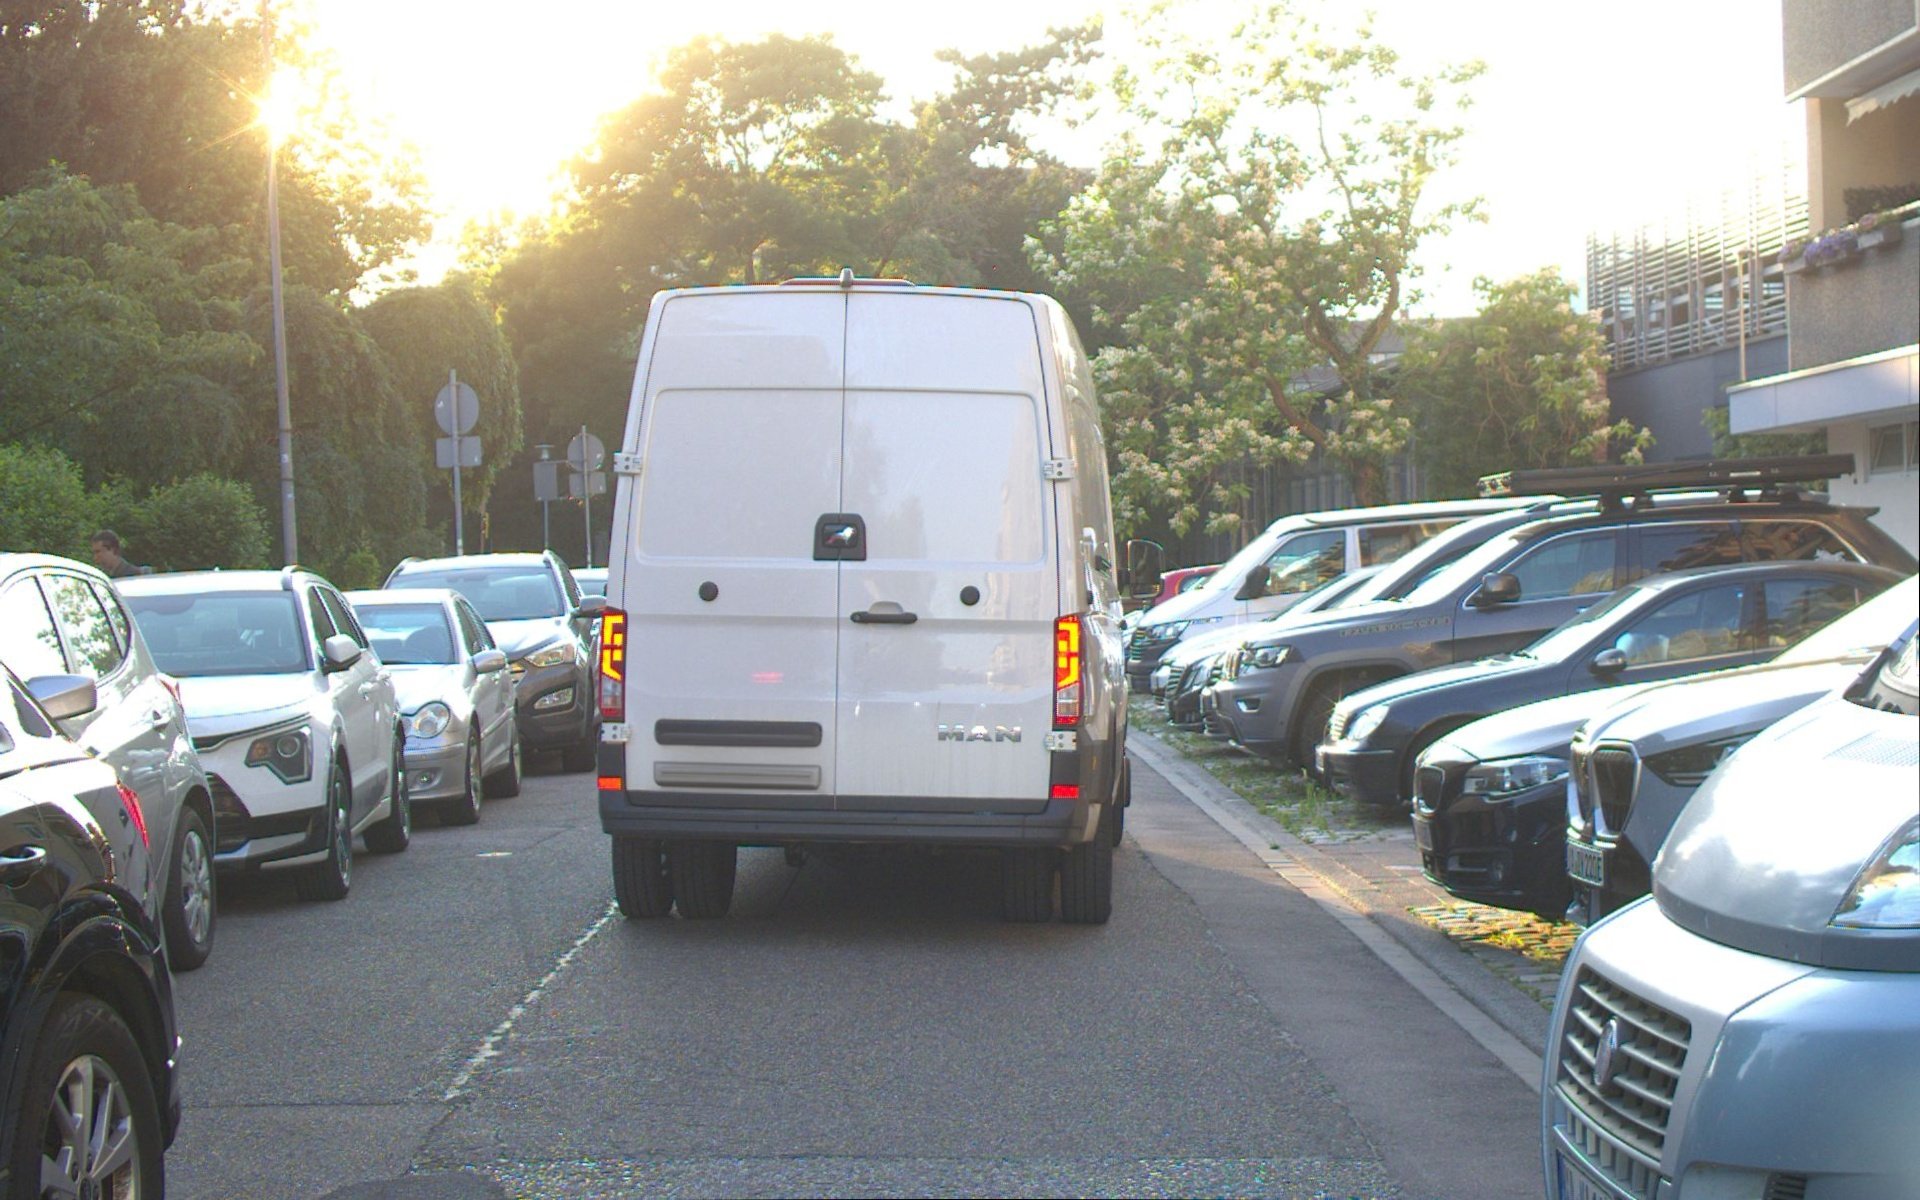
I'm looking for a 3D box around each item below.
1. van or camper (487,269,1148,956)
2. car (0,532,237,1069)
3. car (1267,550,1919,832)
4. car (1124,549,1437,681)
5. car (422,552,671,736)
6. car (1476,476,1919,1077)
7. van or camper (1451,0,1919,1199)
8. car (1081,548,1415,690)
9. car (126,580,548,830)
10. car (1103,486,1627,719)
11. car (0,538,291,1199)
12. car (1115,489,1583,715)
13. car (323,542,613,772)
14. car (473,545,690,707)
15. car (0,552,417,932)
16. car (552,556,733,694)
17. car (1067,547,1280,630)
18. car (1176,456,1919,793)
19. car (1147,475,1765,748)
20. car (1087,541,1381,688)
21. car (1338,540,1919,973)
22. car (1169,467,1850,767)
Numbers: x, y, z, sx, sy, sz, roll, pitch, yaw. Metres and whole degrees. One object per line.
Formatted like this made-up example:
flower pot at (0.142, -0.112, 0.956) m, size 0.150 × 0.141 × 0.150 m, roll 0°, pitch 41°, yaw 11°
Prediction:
van or camper at (-0.383, 0.003, 15.946) m, size 2.454 × 2.538 × 6.082 m, roll 1°, pitch 1°, yaw 3°
car at (-3.802, 0.639, 11.407) m, size 1.783 × 1.625 × 4.000 m, roll -3°, pitch 1°, yaw 2°
car at (4.045, 0.496, 20.280) m, size 4.236 × 1.420 × 1.719 m, roll -3°, pitch 1°, yaw -1°
car at (4.221, 0.186, 45.802) m, size 3.987 × 1.722 × 2.000 m, roll 0°, pitch 1°, yaw 0°
car at (-3.788, 0.358, 32.110) m, size 1.993 × 1.612 × 4.000 m, roll 0°, pitch 1°, yaw -2°
car at (4.094, 0.436, 11.115) m, size 4.433 × 1.722 × 1.773 m, roll -2°, pitch 1°, yaw -7°
van or camper at (3.939, 0.015, 5.653) m, size 5.928 × 2.760 × 2.110 m, roll 0°, pitch 1°, yaw -1°
car at (3.536, 0.217, 42.762) m, size 3.987 × 1.722 × 2.000 m, roll 0°, pitch 1°, yaw 0°
car at (-3.806, 0.588, 21.682) m, size 1.993 × 1.393 × 4.000 m, roll 0°, pitch 1°, yaw -1°
car at (3.779, 0.003, 32.706) m, size 4.705 × 2.138 × 2.000 m, roll 0°, pitch 1°, yaw -2°
car at (-2.548, 0.715, 4.865) m, size 1.805 × 1.564 × 4.564 m, roll -1°, pitch 1°, yaw 7°
car at (3.878, 0.008, 34.892) m, size 4.495 × 2.223 × 2.032 m, roll 0°, pitch 1°, yaw -1°
car at (-3.762, 0.389, 26.902) m, size 1.993 × 1.656 × 4.001 m, roll 0°, pitch 1°, yaw -5°
car at (-3.946, 0.233, 36.422) m, size 1.993 × 1.612 × 4.000 m, roll 0°, pitch 1°, yaw -2°
car at (-3.791, 0.586, 16.582) m, size 1.856 × 1.549 × 4.100 m, roll -2°, pitch 1°, yaw -3°
car at (-3.840, 0.266, 42.142) m, size 1.993 × 1.612 × 4.000 m, roll 0°, pitch 1°, yaw -2°
car at (4.206, -0.236, 68.075) m, size 3.986 × 1.612 × 2.000 m, roll 0°, pitch 1°, yaw -4°
car at (3.883, 0.138, 22.961) m, size 4.705 × 2.138 × 2.000 m, roll 0°, pitch 1°, yaw -2°
car at (3.959, 0.070, 28.028) m, size 4.705 × 2.138 × 2.000 m, roll 0°, pitch 1°, yaw -2°
car at (3.788, 0.185, 48.122) m, size 3.987 × 2.007 × 2.000 m, roll 0°, pitch 1°, yaw 1°
car at (3.689, 0.513, 13.705) m, size 3.986 × 1.449 × 1.836 m, roll -4°, pitch 1°, yaw -4°
car at (4.000, 0.103, 25.601) m, size 4.705 × 2.138 × 2.000 m, roll 0°, pitch 1°, yaw -2°
